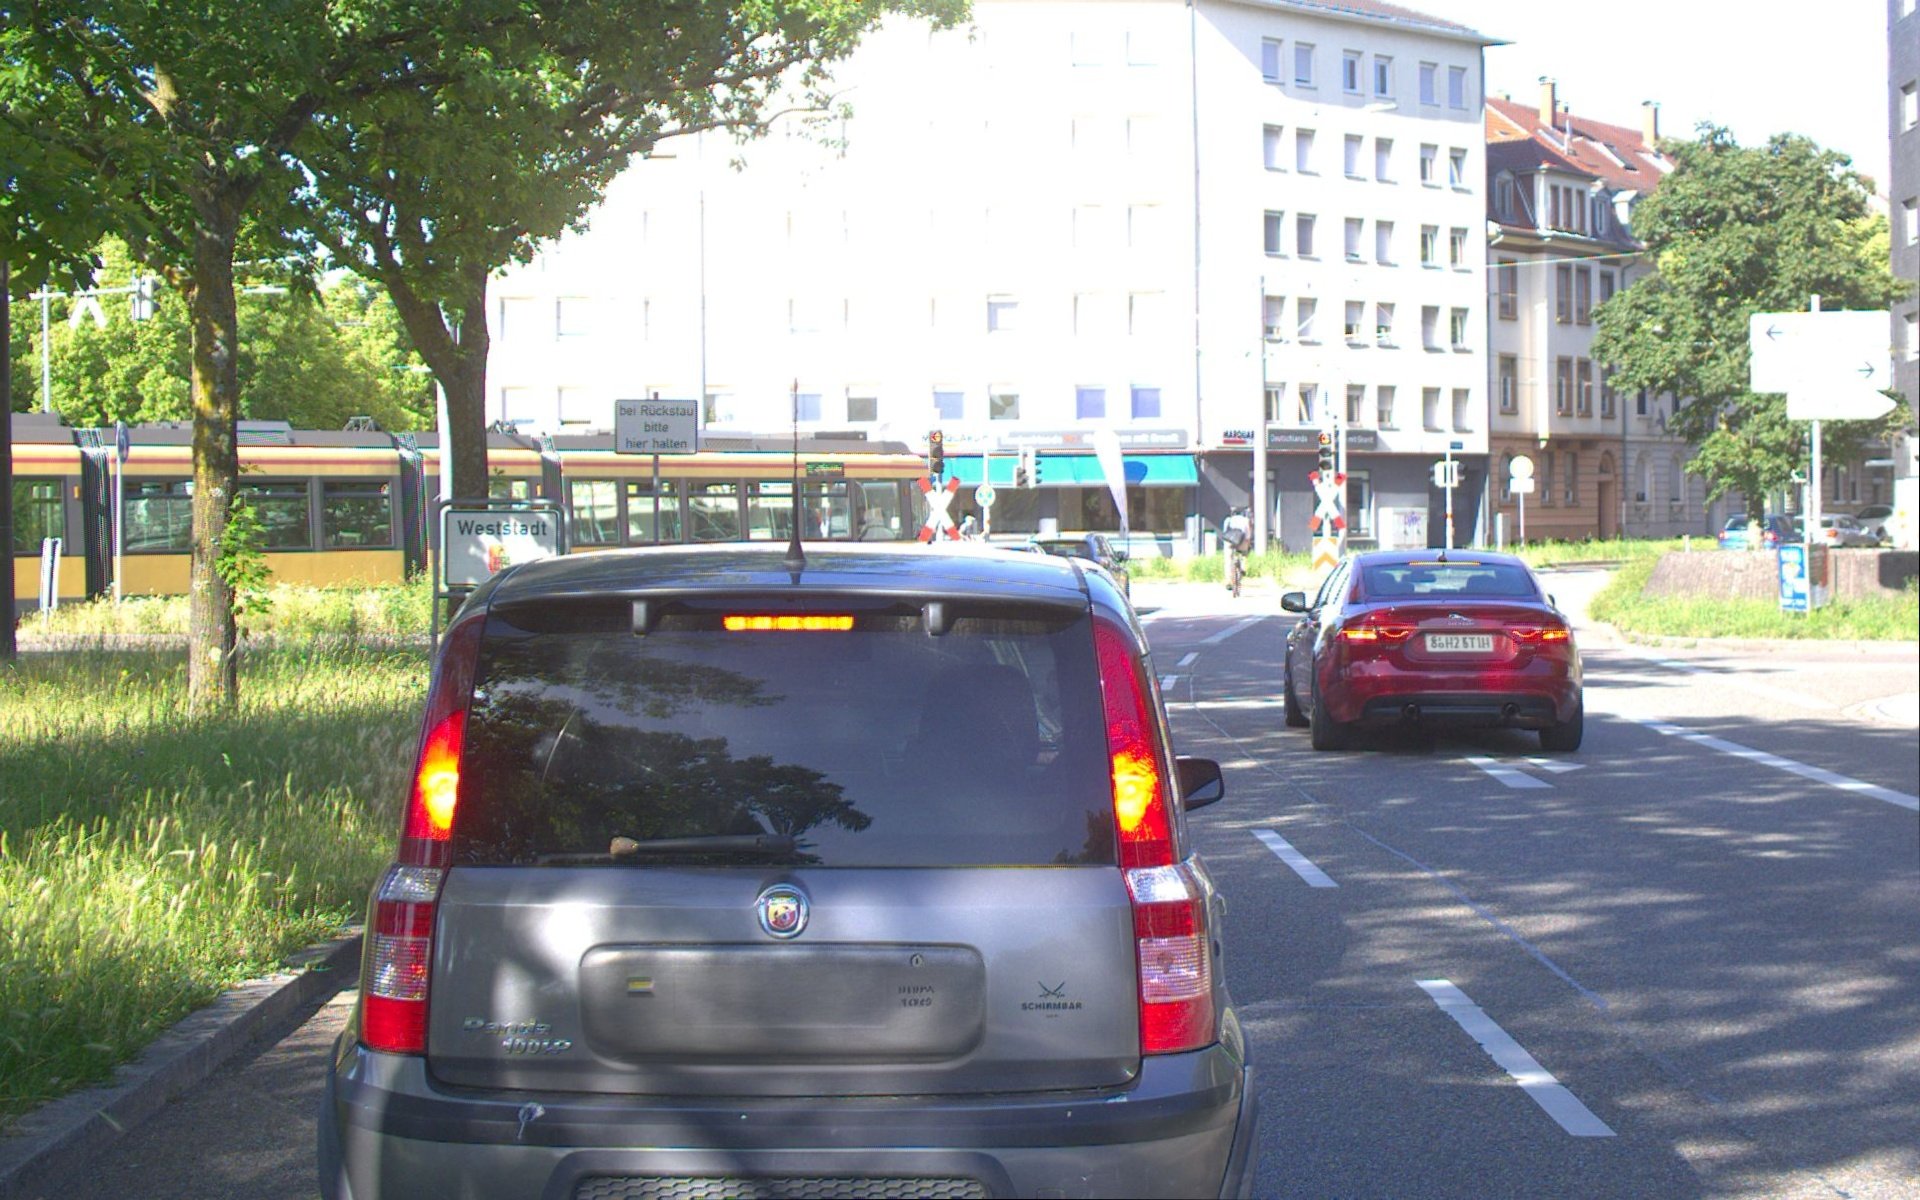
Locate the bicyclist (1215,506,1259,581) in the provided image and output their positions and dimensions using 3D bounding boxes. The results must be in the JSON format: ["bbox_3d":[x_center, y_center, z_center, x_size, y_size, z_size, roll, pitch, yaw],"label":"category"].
[{"bbox_3d":[5.375,-1.098,66.769,0.741,1.433,0.845,1,0,-2],"label":"bicyclist"}]

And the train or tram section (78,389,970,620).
[{"bbox_3d":[-7.308,-1.822,65.150,3.302,3.757,20.766,0,2,37],"label":"train or tram section"}]

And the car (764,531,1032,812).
[{"bbox_3d":[-0.359,0.359,20.684,1.463,1.503,3.505,0,2,-1],"label":"car"}]

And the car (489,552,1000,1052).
[{"bbox_3d":[-0.641,0.563,11.644,1.463,1.396,3.393,0,1,-1],"label":"car"}]

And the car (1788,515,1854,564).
[{"bbox_3d":[23.562,-1.662,94.021,1.528,1.310,3.285,0,1,18],"label":"car"}]

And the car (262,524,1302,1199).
[{"bbox_3d":[-0.299,0.601,7.423,1.628,1.503,4.000,-1,1,-1],"label":"car"}]

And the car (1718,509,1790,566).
[{"bbox_3d":[20.885,-1.658,90.393,1.683,1.444,3.569,0,1,15],"label":"car"}]

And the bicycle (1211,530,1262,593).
[{"bbox_3d":[5.374,-0.754,66.980,0.708,1.194,2.520,1,1,-2],"label":"bicycle"}]

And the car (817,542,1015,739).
[{"bbox_3d":[-0.344,0.272,27.264,1.463,1.420,3.381,0,2,-1],"label":"car"}]

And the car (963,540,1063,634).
[{"bbox_3d":[0.751,-0.208,49.606,1.356,1.277,2.876,0,1,-1],"label":"car"}]

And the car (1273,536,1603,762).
[{"bbox_3d":[3.392,0.286,25.149,1.887,1.423,4.387,-1,2,1],"label":"car"}]

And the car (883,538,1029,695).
[{"bbox_3d":[-0.059,0.126,33.867,1.356,1.444,3.266,-1,1,-1],"label":"car"}]

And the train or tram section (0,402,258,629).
[{"bbox_3d":[-19.692,-1.209,50.889,19.332,3.501,3.305,-2,2,-43],"label":"train or tram section"}]

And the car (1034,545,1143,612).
[{"bbox_3d":[2.173,-0.366,57.674,1.143,1.060,2.719,0,1,17],"label":"car"}]
